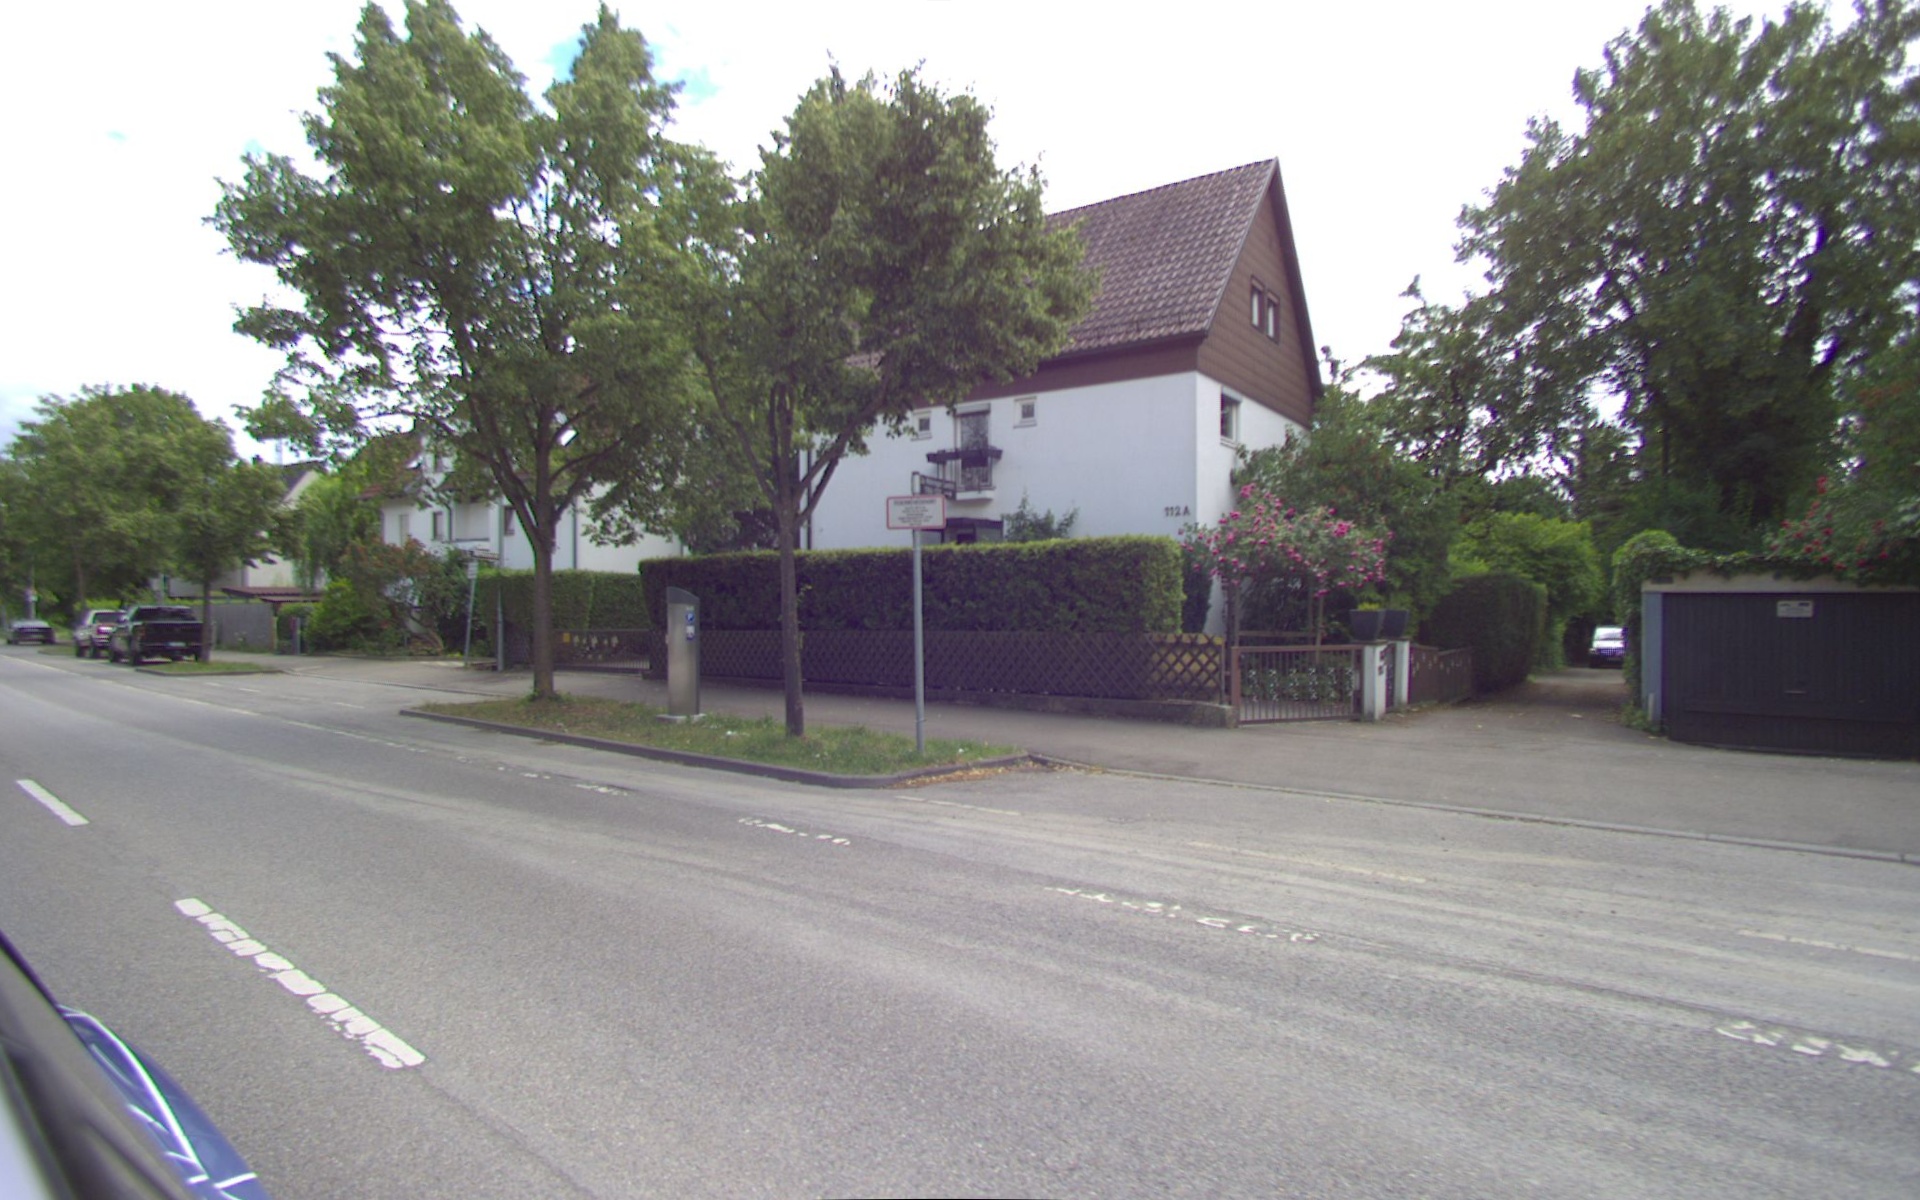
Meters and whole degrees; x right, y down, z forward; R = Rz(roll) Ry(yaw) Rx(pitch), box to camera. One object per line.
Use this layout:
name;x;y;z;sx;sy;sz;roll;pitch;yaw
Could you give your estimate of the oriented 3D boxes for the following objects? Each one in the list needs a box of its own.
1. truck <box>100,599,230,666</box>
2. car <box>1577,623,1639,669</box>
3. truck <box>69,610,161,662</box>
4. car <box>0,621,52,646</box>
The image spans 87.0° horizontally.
truck;-26.869;1.057;34.115;5.992;2.059;2.397;-1;-1;41
car;27.863;1.927;43.465;1.996;1.780;3.951;-1;-1;36
truck;-32.793;1.363;39.206;5.663;1.882;1.946;-1;-3;42
car;-53.885;1.921;58.345;4.925;1.419;1.727;-1;-2;42
